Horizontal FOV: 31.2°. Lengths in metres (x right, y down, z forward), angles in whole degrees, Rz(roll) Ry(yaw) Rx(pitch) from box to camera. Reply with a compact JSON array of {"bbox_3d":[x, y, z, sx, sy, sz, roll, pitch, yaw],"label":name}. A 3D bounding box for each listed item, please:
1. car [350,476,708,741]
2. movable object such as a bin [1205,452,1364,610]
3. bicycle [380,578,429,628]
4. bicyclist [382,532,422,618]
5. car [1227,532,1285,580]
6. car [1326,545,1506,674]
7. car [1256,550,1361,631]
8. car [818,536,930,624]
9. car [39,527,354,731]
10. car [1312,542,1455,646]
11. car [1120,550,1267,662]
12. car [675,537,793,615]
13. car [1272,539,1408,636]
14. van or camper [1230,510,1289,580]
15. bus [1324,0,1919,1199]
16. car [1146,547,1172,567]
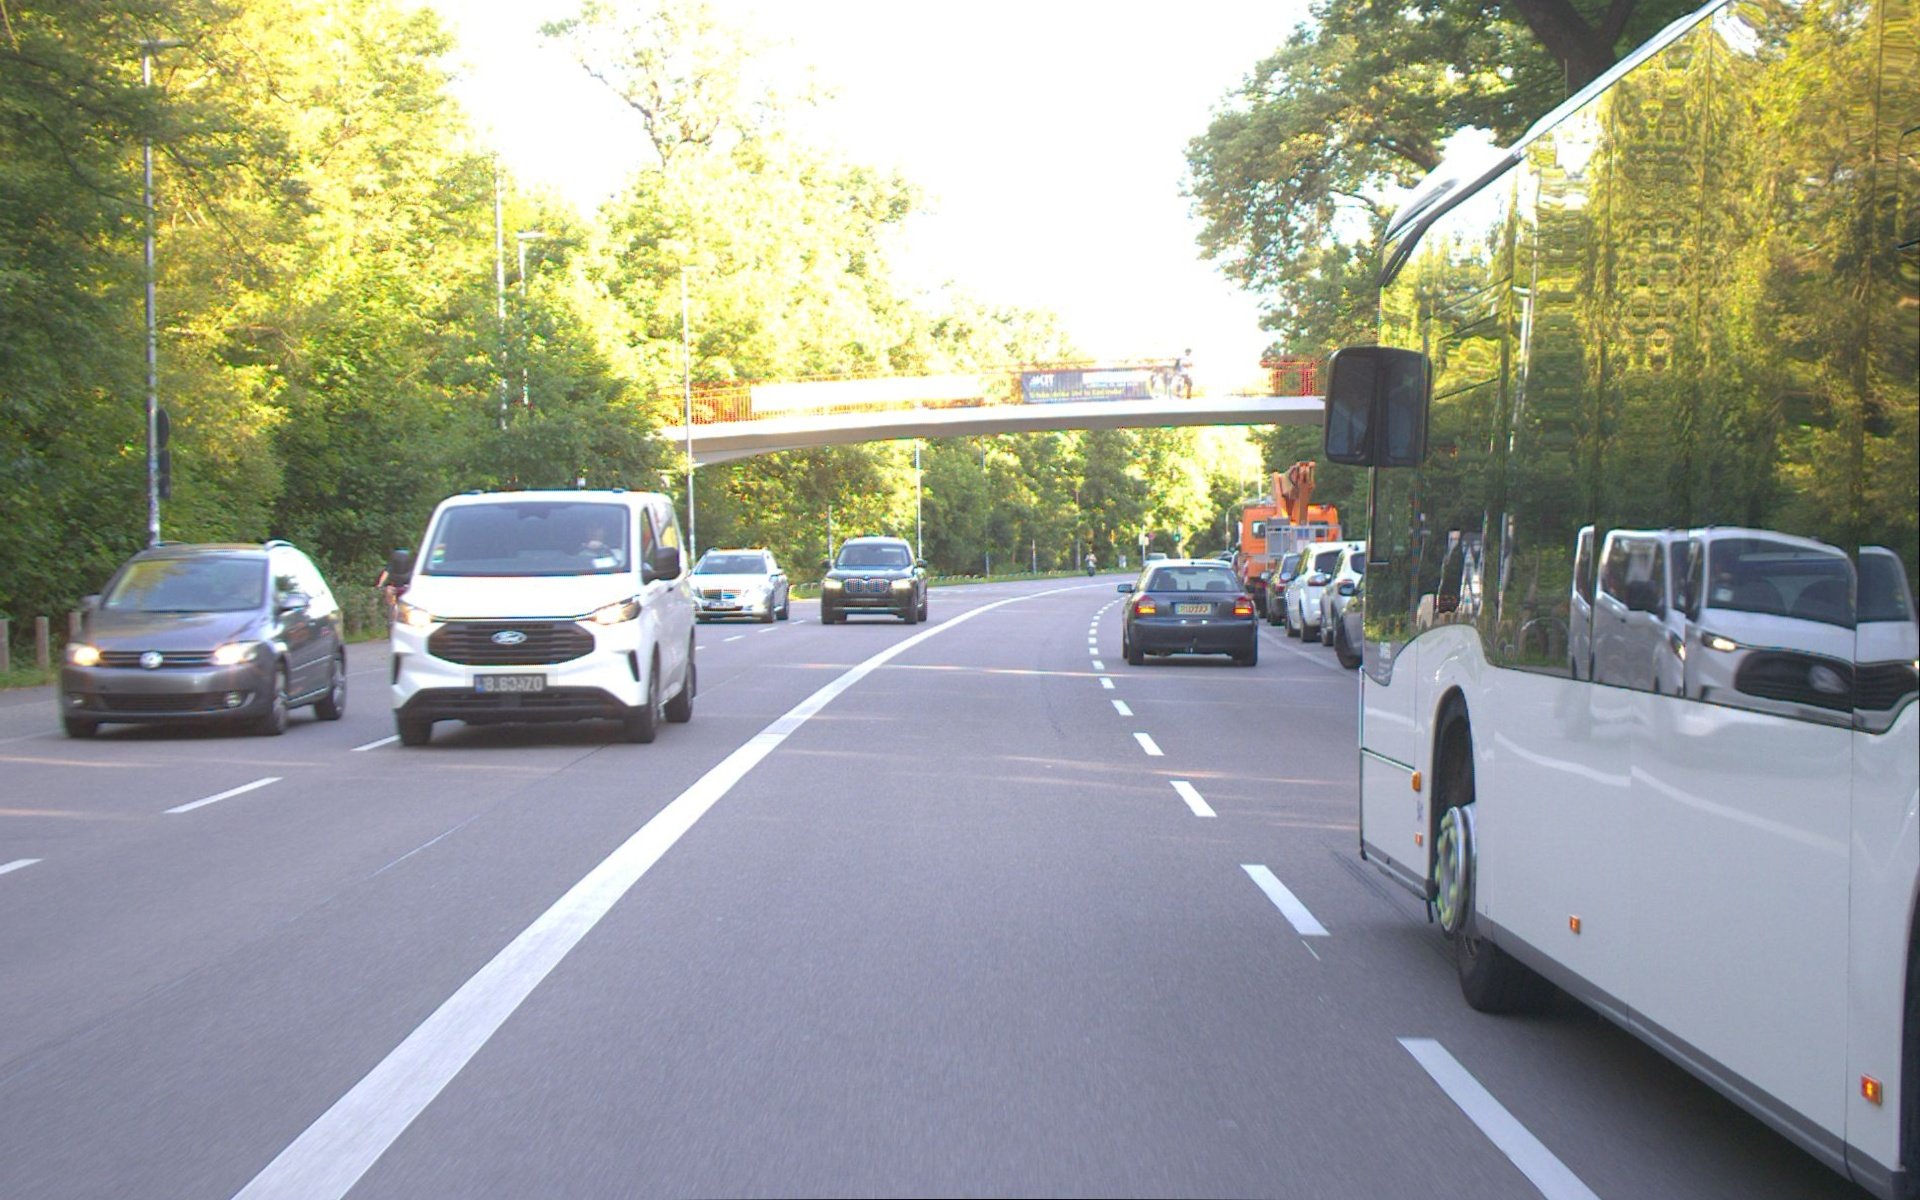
[{"bbox_3d":[-3.355,0.029,27.759,2.206,1.954,4.913,0,1,1],"label":"car"},{"bbox_3d":[7.192,-1.539,77.064,2.758,3.359,7.601,0,1,-1],"label":"movable object such as a bin"},{"bbox_3d":[-9.746,0.048,60.339,0.495,0.811,1.808,-3,1,1],"label":"bicycle"},{"bbox_3d":[-9.772,-0.441,60.181,0.499,1.479,0.761,-2,1,2],"label":"bicyclist"},{"bbox_3d":[9.982,-1.486,115.819,1.723,1.491,3.774,-3,1,8],"label":"car"},{"bbox_3d":[5.634,0.084,42.879,1.728,1.519,4.090,0,1,1],"label":"car"},{"bbox_3d":[6.954,-0.217,69.001,1.728,1.569,4.090,0,1,1],"label":"car"},{"bbox_3d":[-1.676,-0.412,68.250,1.918,1.698,4.442,0,1,3],"label":"car"},{"bbox_3d":[-6.356,0.192,29.037,1.800,1.594,4.000,0,1,-1],"label":"car"},{"bbox_3d":[6.453,-0.120,52.777,1.728,1.536,4.090,0,1,1],"label":"car"},{"bbox_3d":[3.101,0.047,46.276,1.728,1.436,4.090,0,1,1],"label":"car"},{"bbox_3d":[-4.561,-0.509,69.972,1.898,1.526,4.529,0,1,3],"label":"car"},{"bbox_3d":[6.377,-0.231,58.057,1.838,1.569,4.459,0,1,1],"label":"car"},{"bbox_3d":[11.039,-2.019,127.022,2.119,2.509,5.979,-1,1,5],"label":"van or camper"},{"bbox_3d":[2.946,-0.092,8.349,2.704,3.211,12.279,0,1,0],"label":"bus"},{"bbox_3d":[14.334,-3.092,247.102,1.681,1.402,3.889,-2,0,5],"label":"car"}]
